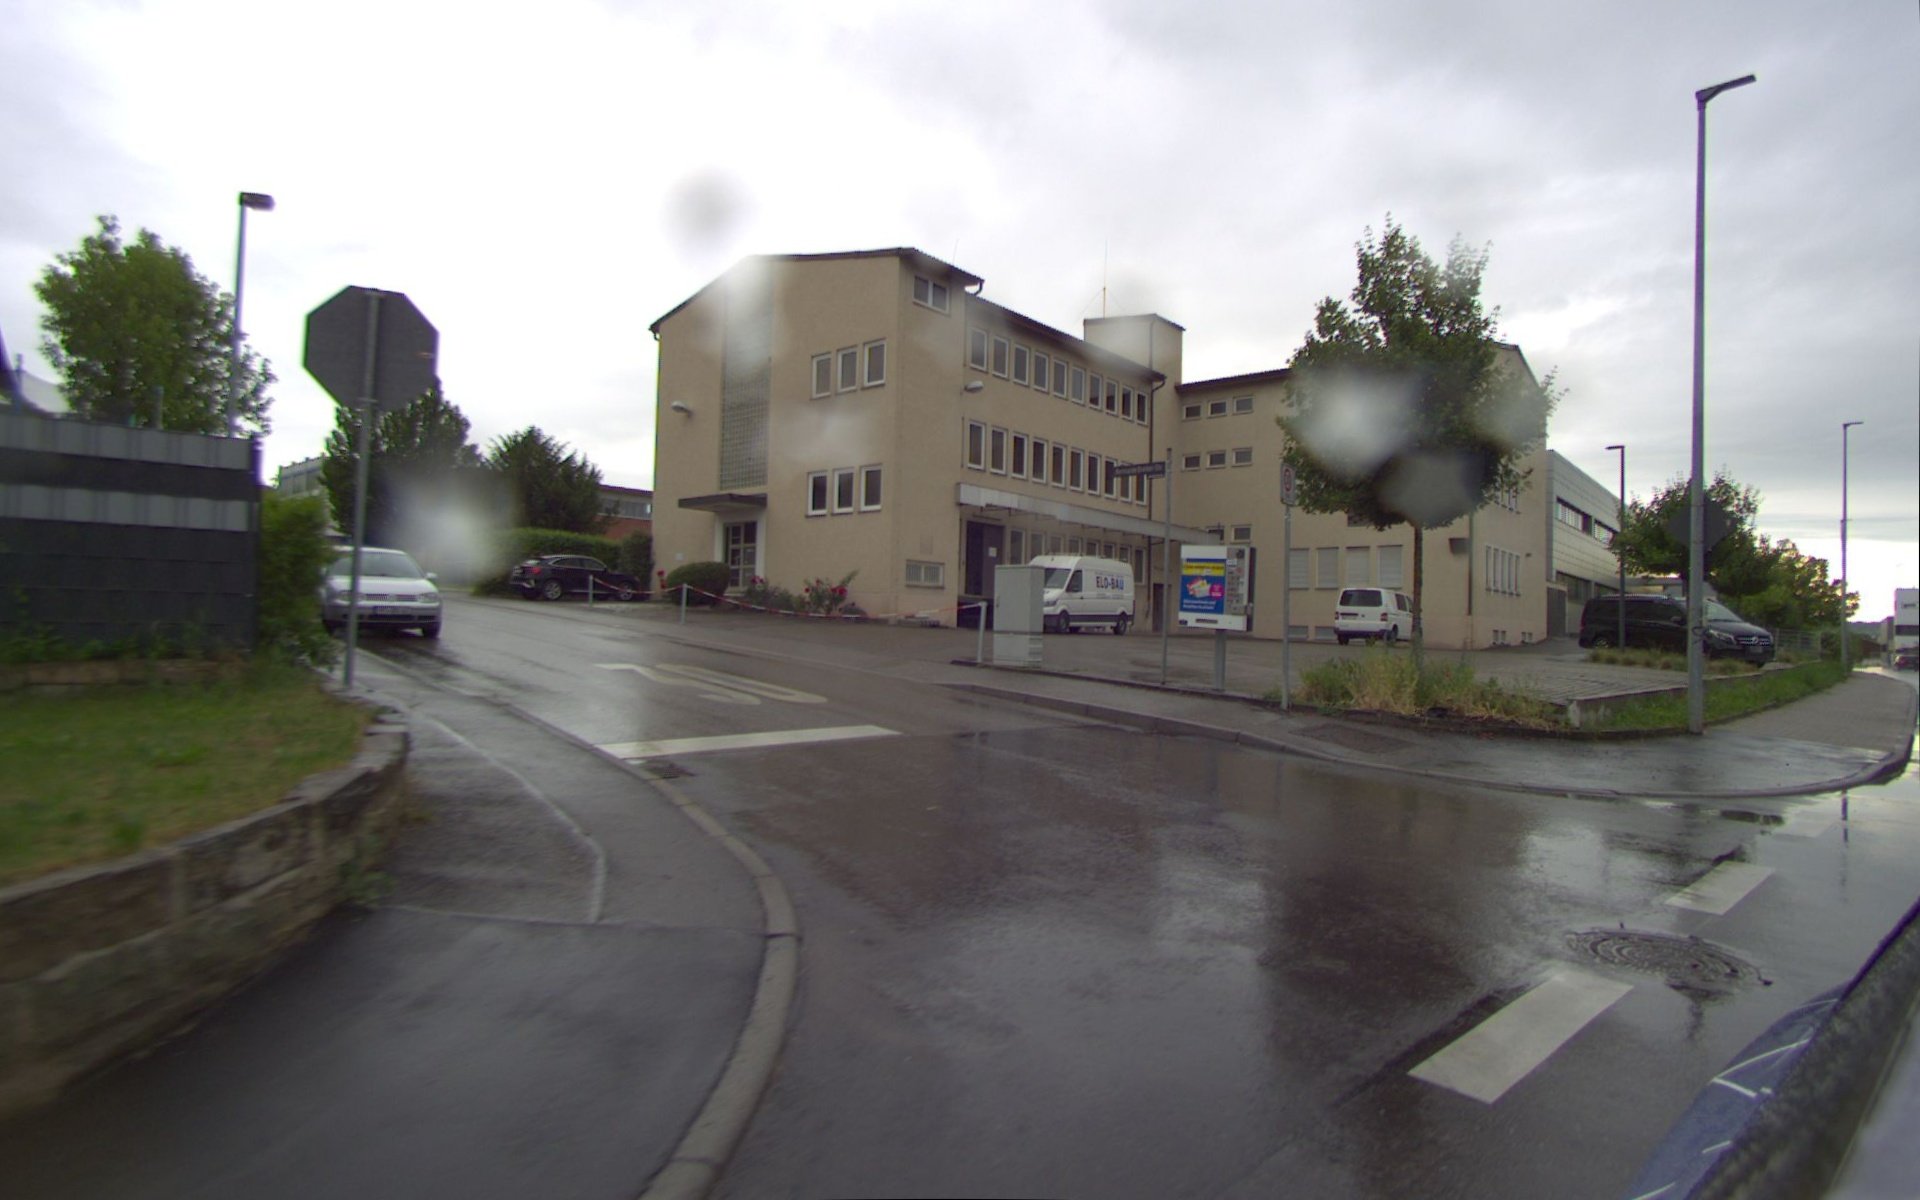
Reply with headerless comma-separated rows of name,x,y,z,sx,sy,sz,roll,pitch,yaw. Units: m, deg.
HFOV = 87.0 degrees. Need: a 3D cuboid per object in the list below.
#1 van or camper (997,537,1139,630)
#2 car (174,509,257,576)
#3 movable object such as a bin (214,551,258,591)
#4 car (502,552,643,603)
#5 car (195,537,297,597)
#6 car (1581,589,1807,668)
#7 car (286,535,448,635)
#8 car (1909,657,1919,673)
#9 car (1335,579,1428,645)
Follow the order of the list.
van or camper,3.730,-0.401,33.412,1.985,2.570,6.524,-1,-4,32
car,-30.349,-2.284,41.226,3.986,2.297,1.952,-2,-5,44
movable object such as a bin,-19.447,-0.774,27.184,0.819,0.991,0.657,5,-5,-44
car,-13.241,-0.722,34.762,4.160,1.399,1.699,5,-5,-43
car,-22.693,-0.991,32.125,3.986,1.572,1.851,-2,-5,44
car,20.310,0.701,28.356,2.011,1.943,5.125,2,0,-10
car,-9.989,-0.251,16.918,1.580,1.473,3.773,3,0,-42
car,95.767,6.485,100.667,1.849,1.575,4.431,-2,-5,42
car,14.830,0.486,35.511,1.791,2.040,4.533,-1,-4,40
